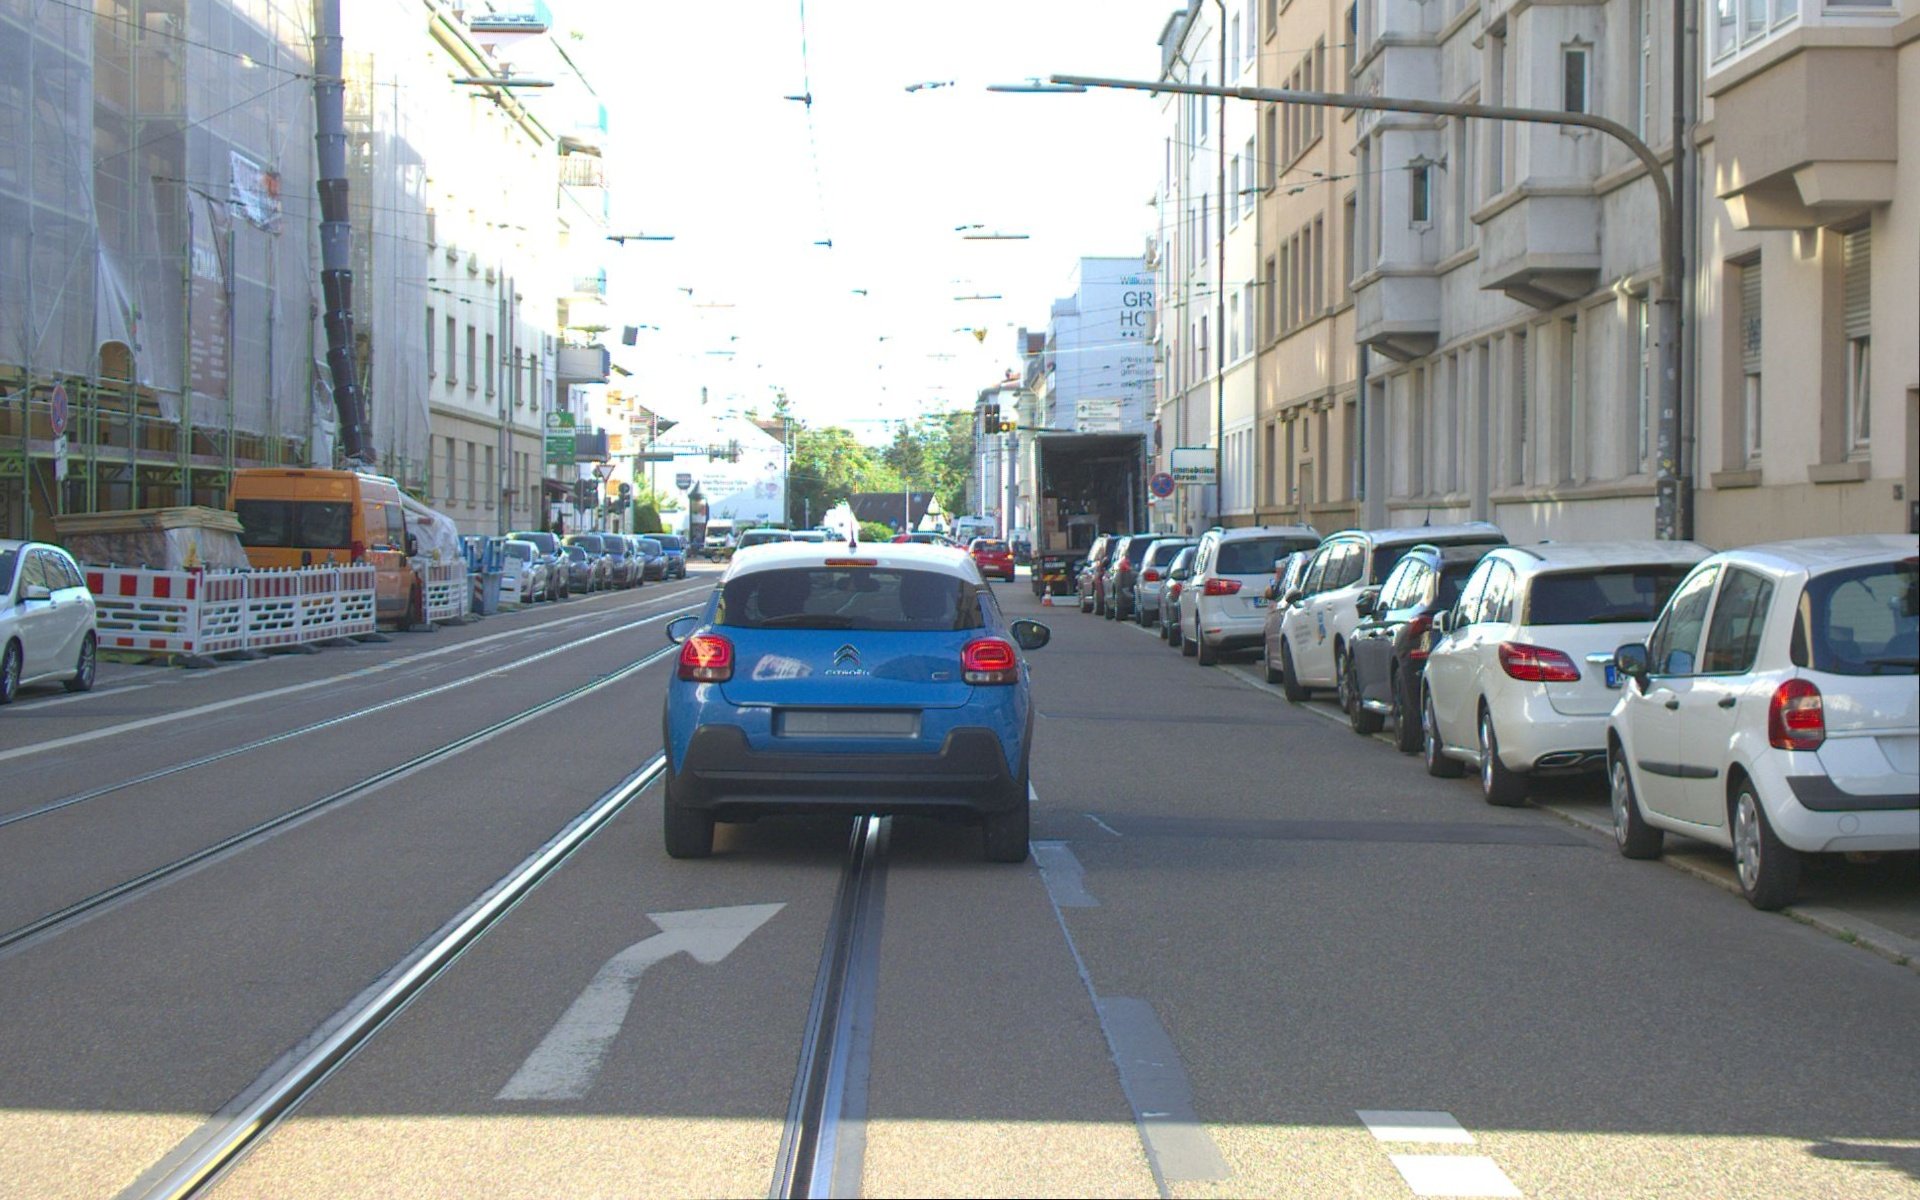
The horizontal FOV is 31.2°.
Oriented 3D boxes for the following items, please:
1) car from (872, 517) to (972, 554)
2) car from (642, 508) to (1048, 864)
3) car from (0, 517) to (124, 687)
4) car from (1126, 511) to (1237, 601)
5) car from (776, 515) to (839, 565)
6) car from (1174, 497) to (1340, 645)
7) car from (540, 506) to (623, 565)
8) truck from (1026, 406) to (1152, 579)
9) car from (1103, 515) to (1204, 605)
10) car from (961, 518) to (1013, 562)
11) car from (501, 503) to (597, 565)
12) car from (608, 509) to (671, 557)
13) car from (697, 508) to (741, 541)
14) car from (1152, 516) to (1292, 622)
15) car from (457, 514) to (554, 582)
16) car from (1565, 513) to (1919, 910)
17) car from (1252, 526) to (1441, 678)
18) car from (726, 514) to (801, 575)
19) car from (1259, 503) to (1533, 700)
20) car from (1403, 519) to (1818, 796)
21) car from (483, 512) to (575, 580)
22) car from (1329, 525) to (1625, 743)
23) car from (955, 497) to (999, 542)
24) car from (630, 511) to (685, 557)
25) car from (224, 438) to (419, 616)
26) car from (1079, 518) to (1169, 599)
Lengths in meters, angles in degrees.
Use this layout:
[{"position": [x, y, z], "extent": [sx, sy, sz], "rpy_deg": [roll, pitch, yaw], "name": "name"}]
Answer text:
[{"position": [-1.590, -2.672, 141.691], "extent": [4.017, 1.481, 1.761], "rpy_deg": [0, 1, -4], "name": "car"}, {"position": [-0.522, 0.328, 17.215], "extent": [1.735, 1.502, 3.993], "rpy_deg": [2, 2, 0], "name": "car"}, {"position": [-9.606, -0.041, 33.521], "extent": [1.718, 1.497, 4.388], "rpy_deg": [3, 2, 1], "name": "car"}, {"position": [3.856, -0.800, 60.380], "extent": [1.664, 1.514, 4.222], "rpy_deg": [0, 1, 0], "name": "car"}, {"position": [-5.024, -2.002, 113.958], "extent": [1.901, 1.626, 4.267], "rpy_deg": [0, 1, 0], "name": "car"}, {"position": [3.825, -0.418, 44.899], "extent": [1.730, 1.821, 4.687], "rpy_deg": [0, 1, 0], "name": "car"}, {"position": [-10.690, -1.846, 97.403], "extent": [1.826, 1.626, 4.849], "rpy_deg": [0, 1, 0], "name": "car"}, {"position": [3.148, -2.685, 86.913], "extent": [2.853, 4.069, 11.271], "rpy_deg": [0, 1, 1], "name": "truck"}, {"position": [3.637, -0.780, 65.226], "extent": [1.664, 1.641, 4.222], "rpy_deg": [0, 1, 0], "name": "car"}, {"position": [0.932, -2.110, 120.344], "extent": [1.765, 1.481, 4.032], "rpy_deg": [0, 1, 0], "name": "car"}, {"position": [-10.925, -1.769, 91.628], "extent": [2.144, 1.616, 4.001], "rpy_deg": [0, 2, -1], "name": "car"}, {"position": [-10.924, -2.295, 117.473], "extent": [1.826, 1.626, 3.905], "rpy_deg": [0, 1, -1], "name": "car"}, {"position": [-12.079, -3.813, 172.377], "extent": [1.901, 1.626, 4.267], "rpy_deg": [0, 1, 0], "name": "car"}, {"position": [3.818, -0.487, 50.669], "extent": [1.722, 1.481, 4.222], "rpy_deg": [0, 1, 0], "name": "car"}, {"position": [-10.446, -1.224, 79.180], "extent": [1.714, 1.512, 4.048], "rpy_deg": [0, 1, 0], "name": "car"}, {"position": [4.093, 0.411, 16.099], "extent": [1.783, 1.626, 4.000], "rpy_deg": [0, 1, 0], "name": "car"}, {"position": [4.135, -0.018, 37.249], "extent": [1.614, 1.555, 3.600], "rpy_deg": [0, 1, 0], "name": "car"}, {"position": [-5.376, -1.557, 94.656], "extent": [1.826, 1.626, 4.491], "rpy_deg": [0, 1, 0], "name": "car"}, {"position": [4.068, -0.041, 32.780], "extent": [1.654, 1.746, 4.604], "rpy_deg": [0, 1, -5], "name": "car"}, {"position": [3.997, 0.278, 21.810], "extent": [1.783, 1.570, 4.326], "rpy_deg": [0, 1, 0], "name": "car"}, {"position": [-10.441, -1.328, 83.516], "extent": [1.714, 1.588, 4.267], "rpy_deg": [0, 1, 0], "name": "car"}, {"position": [3.983, 0.199, 27.106], "extent": [1.655, 1.561, 4.338], "rpy_deg": [0, 1, 0], "name": "car"}, {"position": [0.876, -4.190, 179.228], "extent": [2.220, 2.276, 4.084], "rpy_deg": [0, 1, 0], "name": "car"}, {"position": [-10.858, -2.373, 123.450], "extent": [1.826, 1.626, 3.906], "rpy_deg": [0, 1, -3], "name": "car"}, {"position": [-9.433, -1.103, 51.208], "extent": [2.144, 2.467, 4.981], "rpy_deg": [1, 2, -3], "name": "car"}, {"position": [3.377, -0.888, 71.246], "extent": [1.664, 1.627, 3.871], "rpy_deg": [0, 1, 0], "name": "car"}]
